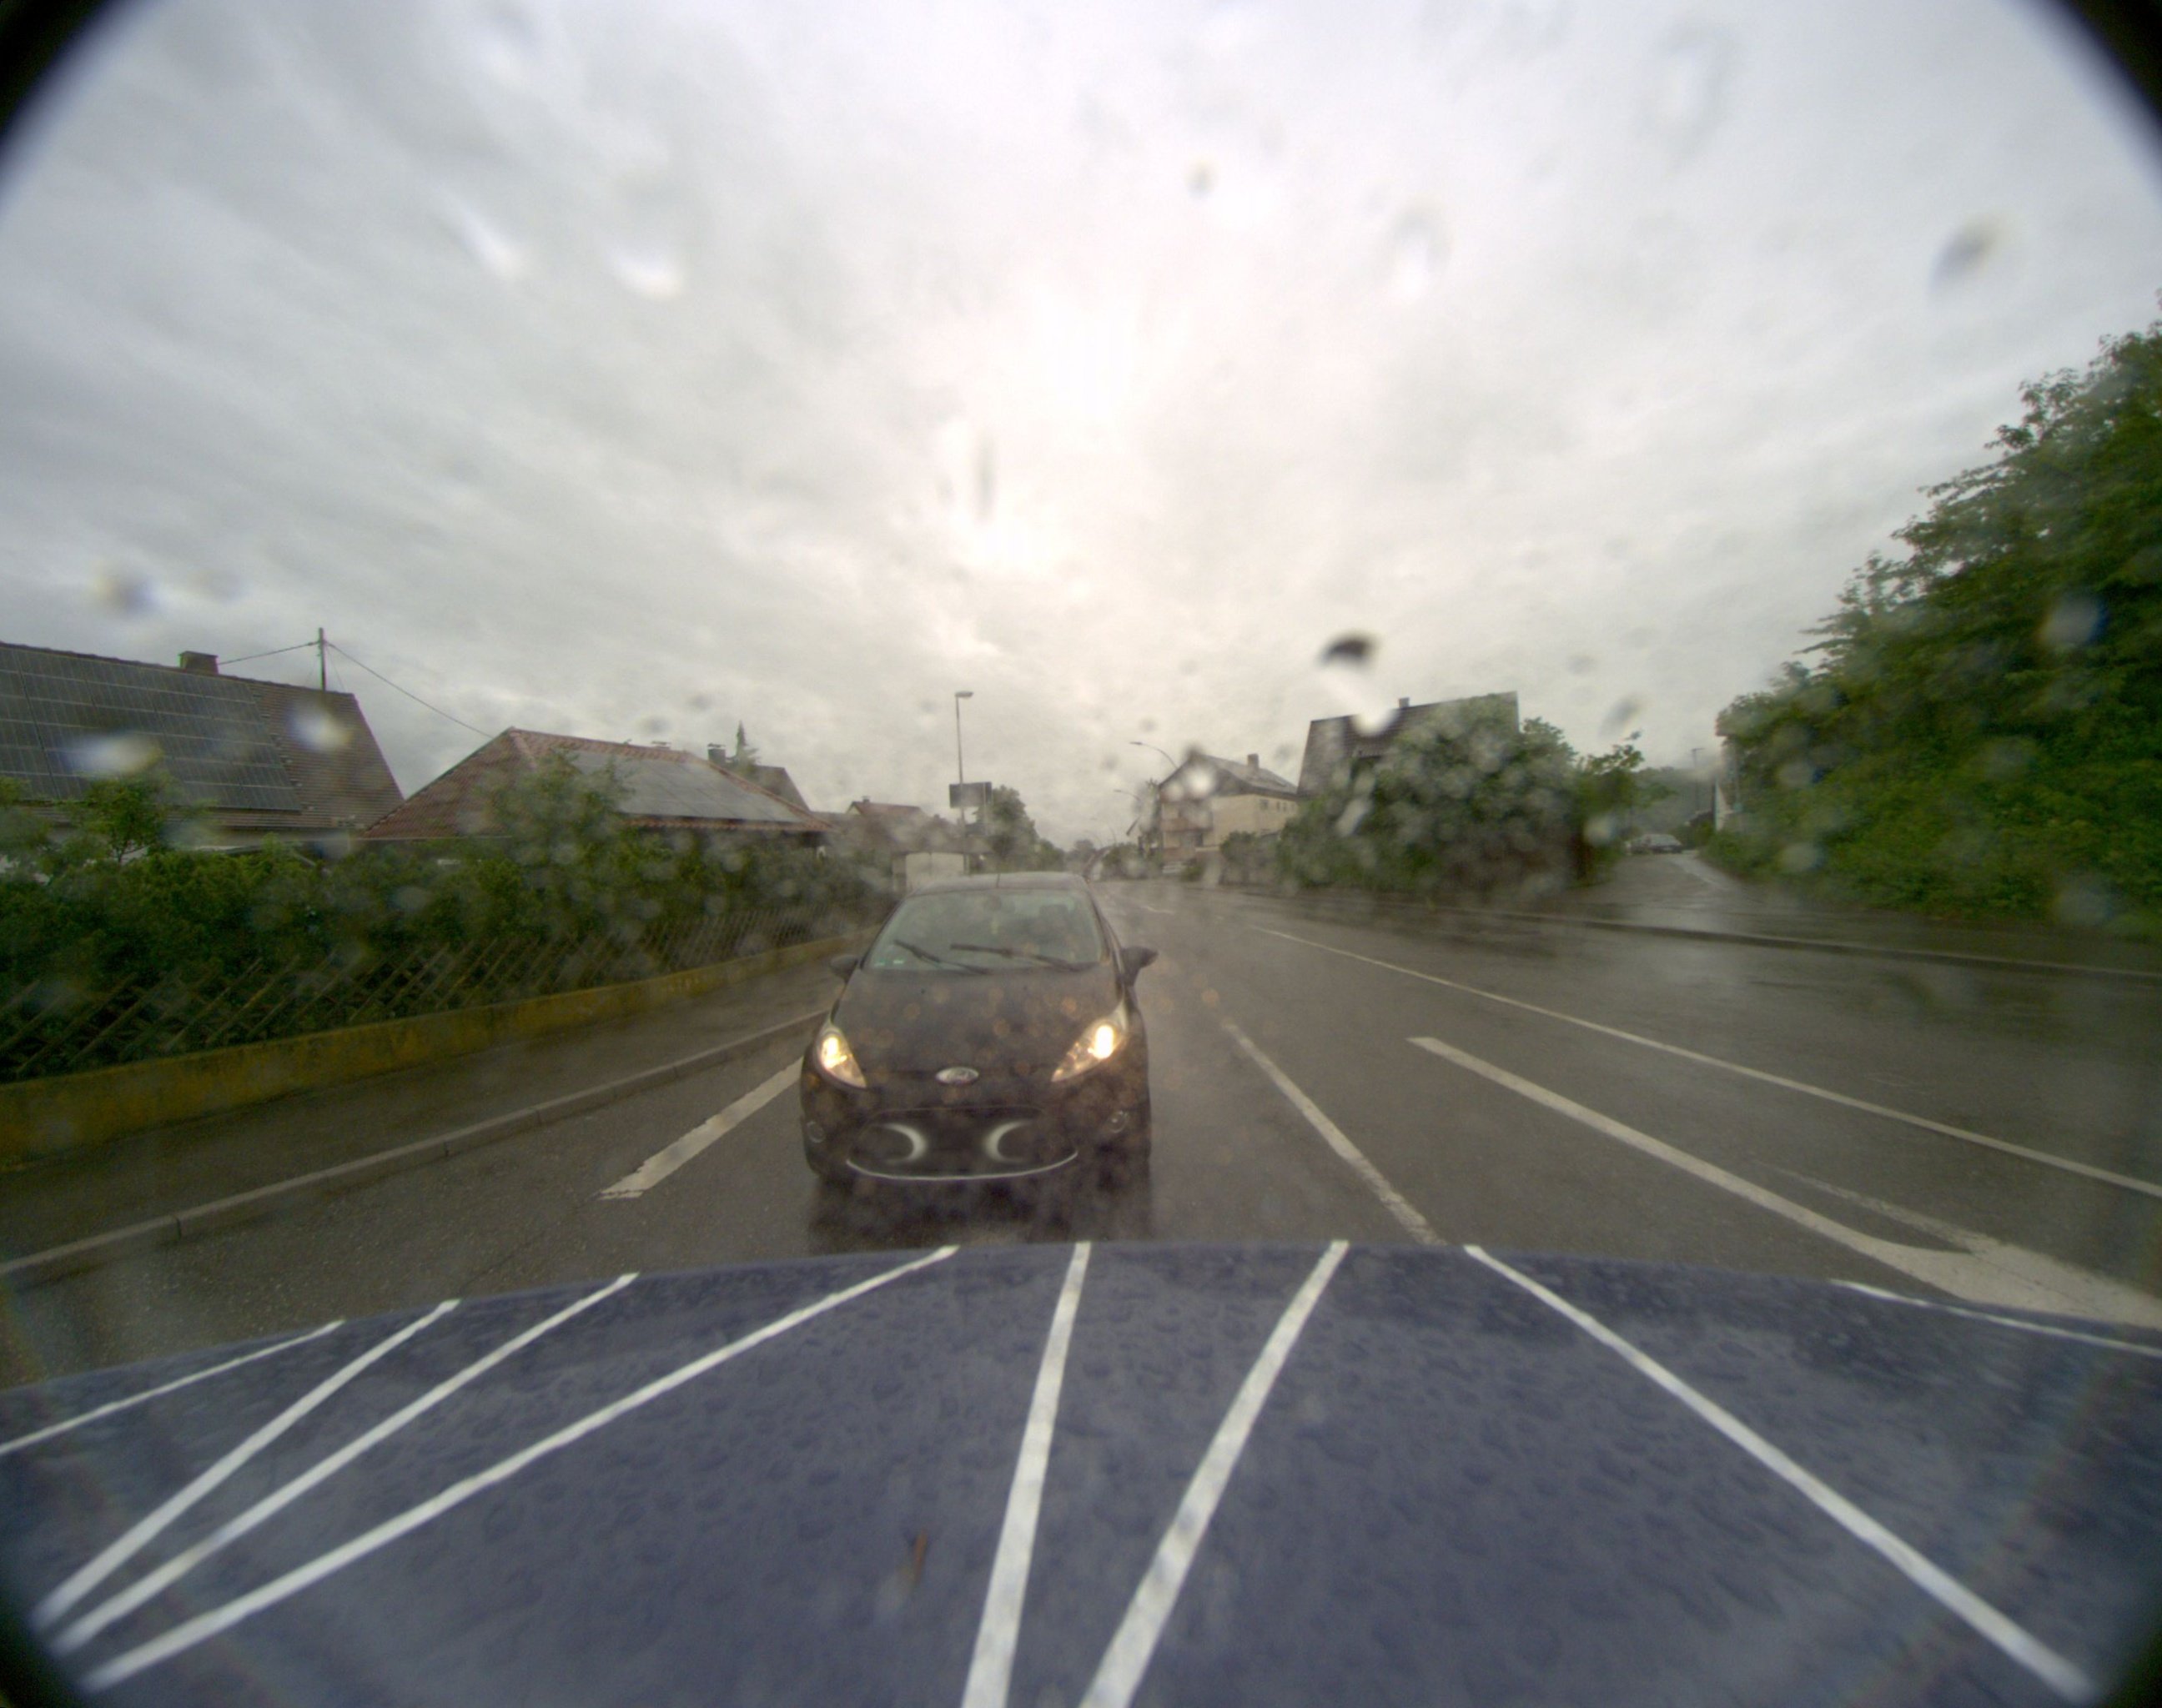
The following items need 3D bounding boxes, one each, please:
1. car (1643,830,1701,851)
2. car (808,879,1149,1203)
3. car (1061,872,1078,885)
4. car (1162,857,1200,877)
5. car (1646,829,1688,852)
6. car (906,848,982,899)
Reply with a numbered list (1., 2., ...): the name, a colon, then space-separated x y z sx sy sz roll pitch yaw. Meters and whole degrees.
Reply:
1. car: 45.633 -1.030 58.805 1.997 1.477 4.004 -3 0 13
2. car: -0.563 1.011 5.818 1.666 1.410 3.931 -2 1 -1
3. car: -1.486 3.088 95.448 1.899 1.474 3.999 -2 0 -3
4. car: 8.825 1.098 66.893 1.661 1.538 4.007 -2 1 34
5. car: 40.746 -0.935 52.944 1.895 1.474 4.008 -2 0 32
6. car: -6.898 0.949 38.623 1.650 2.337 4.007 -2 0 27
